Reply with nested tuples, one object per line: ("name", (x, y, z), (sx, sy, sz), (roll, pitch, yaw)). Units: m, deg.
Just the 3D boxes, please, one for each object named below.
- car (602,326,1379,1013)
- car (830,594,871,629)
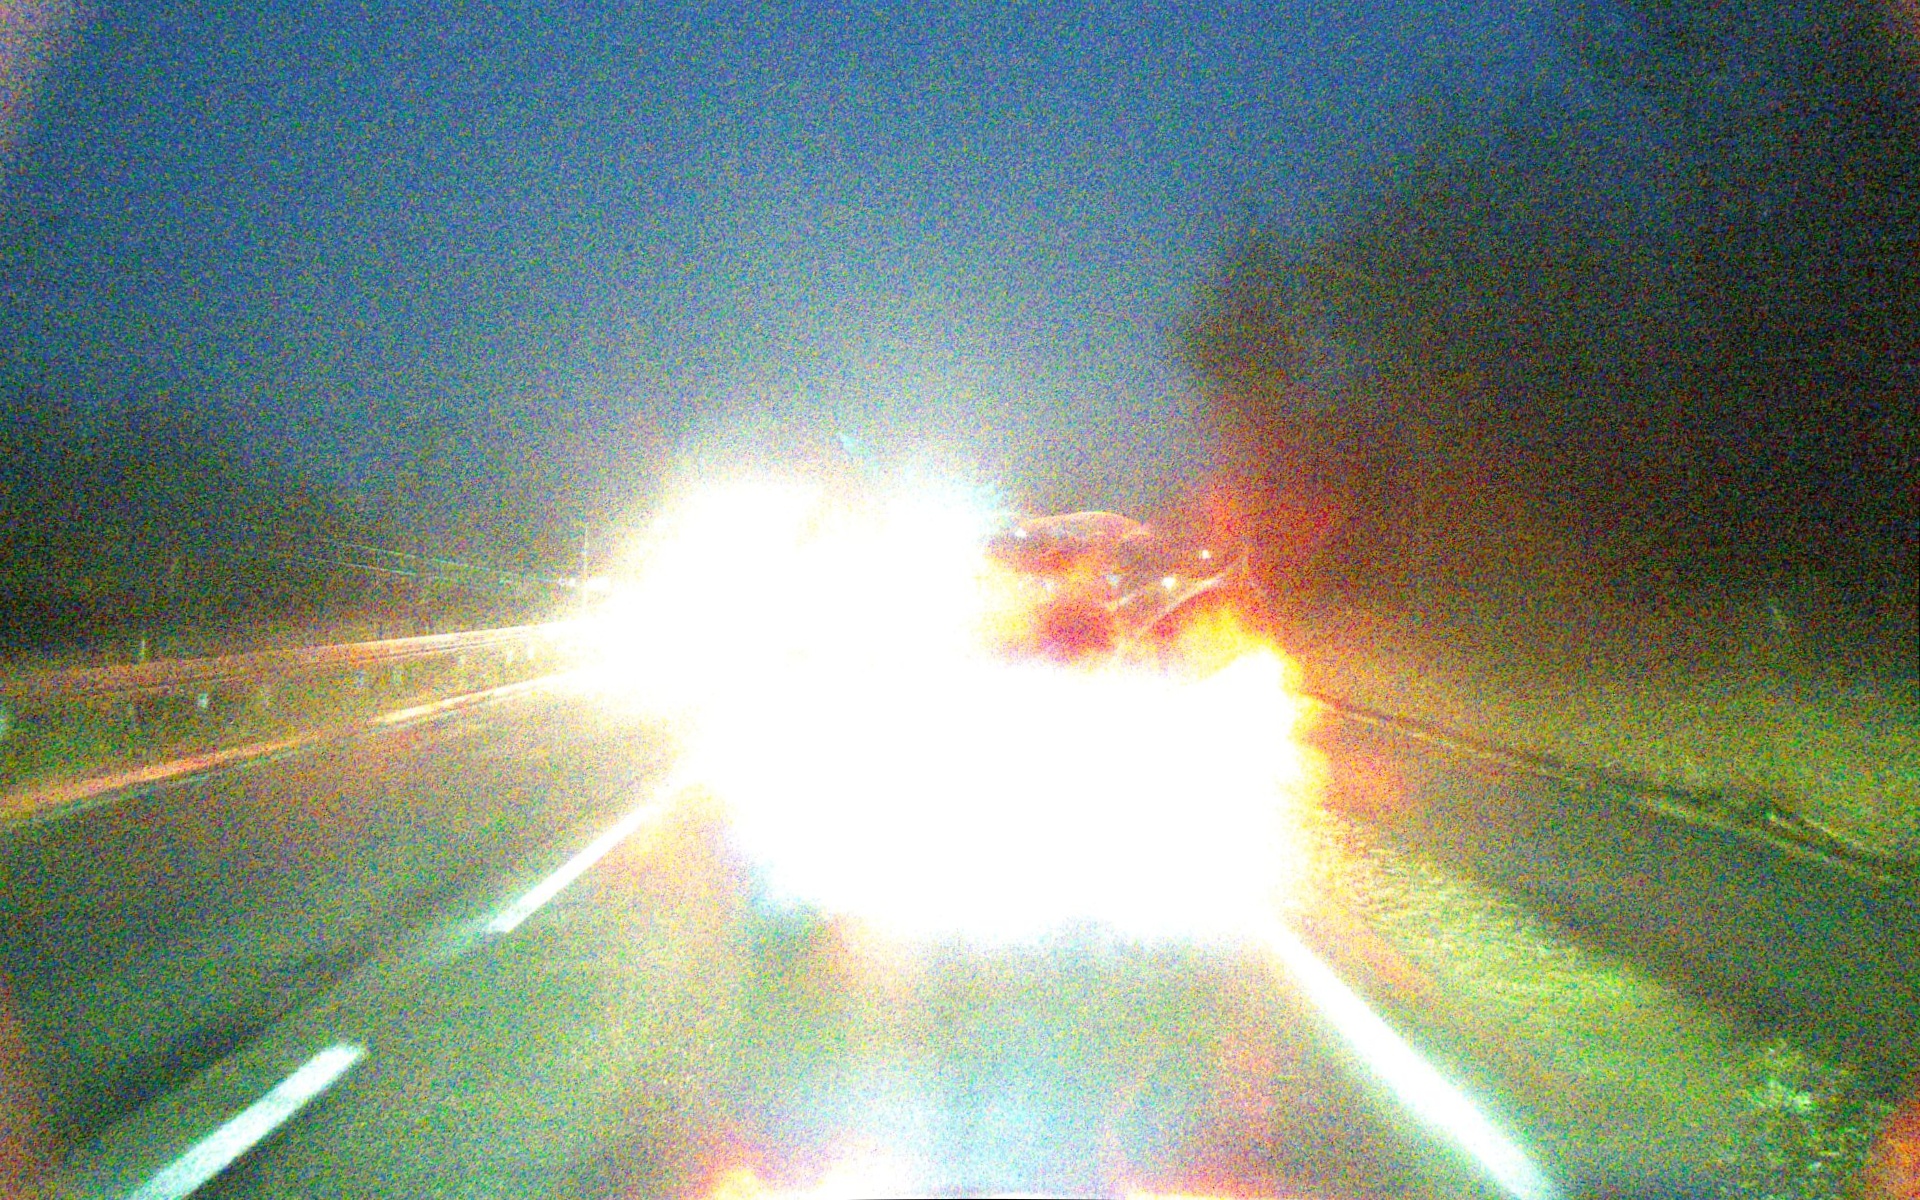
("car", (0.063, 0.225, 8.751), (2.660, 2.348, 6.099), (1, 0, -1))
("car", (-4.949, 0.491, 74.909), (1.512, 1.537, 3.880), (1, 0, 1))
